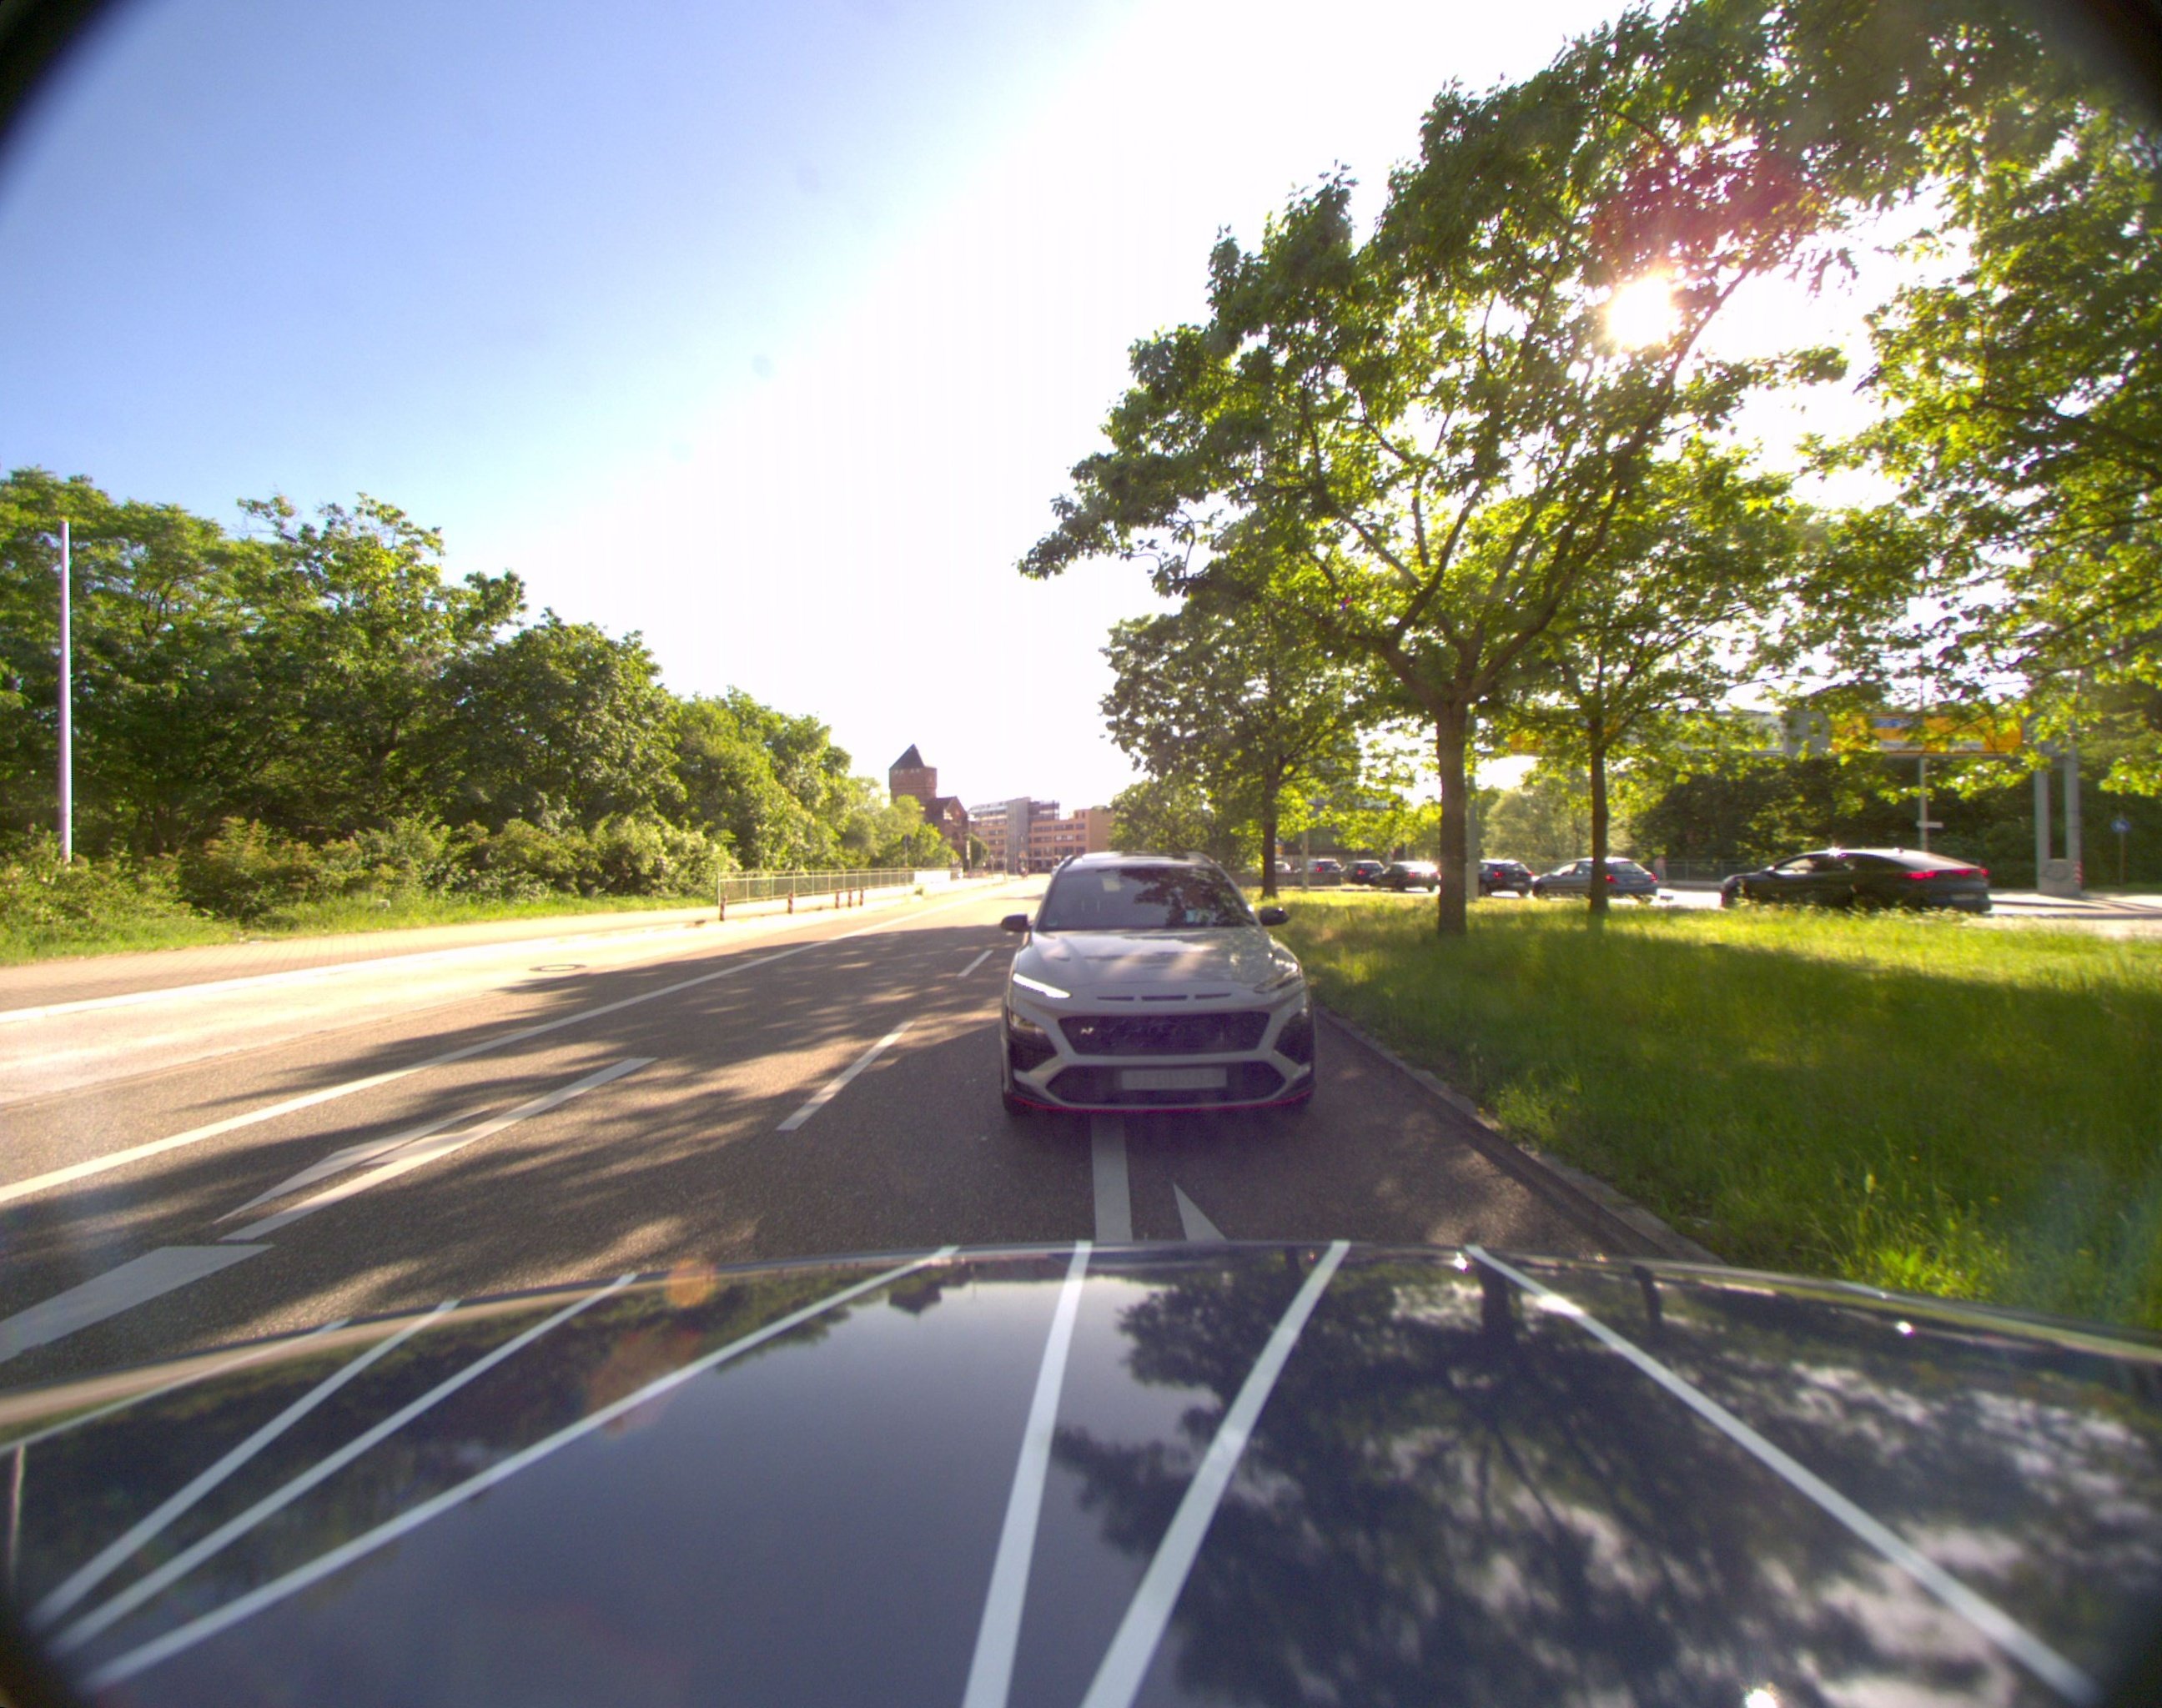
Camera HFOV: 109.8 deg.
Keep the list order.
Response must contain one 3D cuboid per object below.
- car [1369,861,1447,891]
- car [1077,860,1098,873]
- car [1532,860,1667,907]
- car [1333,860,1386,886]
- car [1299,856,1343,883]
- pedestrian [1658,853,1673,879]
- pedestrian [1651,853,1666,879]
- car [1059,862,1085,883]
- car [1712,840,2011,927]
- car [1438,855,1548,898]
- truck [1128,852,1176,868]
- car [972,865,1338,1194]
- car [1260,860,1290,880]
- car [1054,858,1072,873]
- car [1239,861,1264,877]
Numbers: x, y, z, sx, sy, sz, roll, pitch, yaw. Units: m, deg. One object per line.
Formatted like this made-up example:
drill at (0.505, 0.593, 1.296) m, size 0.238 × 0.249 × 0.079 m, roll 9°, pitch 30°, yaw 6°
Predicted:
car at (15.475, 1.001, 36.215) m, size 1.623 × 1.305 × 4.066 m, roll -1°, pitch 0°, yaw -6°
car at (1.025, 1.992, 121.624) m, size 1.995 × 2.002 × 4.006 m, roll -1°, pitch 0°, yaw 21°
car at (16.389, 0.884, 24.236) m, size 1.561 × 1.355 × 3.608 m, roll -1°, pitch -1°, yaw -6°
car at (15.151, 1.036, 41.471) m, size 1.481 × 1.331 × 3.202 m, roll -1°, pitch -1°, yaw -6°
car at (14.973, 0.995, 47.509) m, size 1.450 × 1.549 × 3.202 m, roll -1°, pitch -2°, yaw -6°
pedestrian at (33.993, 0.680, 44.198) m, size 0.421 × 1.490 × 0.545 m, roll -1°, pitch 0°, yaw -7°
pedestrian at (33.563, 0.685, 44.145) m, size 0.421 × 1.490 × 0.545 m, roll -1°, pitch 0°, yaw -7°
car at (-0.650, 1.384, 58.139) m, size 1.892 × 1.420 × 4.387 m, roll -1°, pitch 0°, yaw 1°
car at (16.842, 0.565, 16.802) m, size 1.832 × 1.638 × 4.458 m, roll -1°, pitch 0°, yaw -5°
car at (16.187, 0.849, 30.142) m, size 1.875 × 1.541 × 4.221 m, roll -1°, pitch 0°, yaw -4°
truck at (14.574, 1.209, 155.684) m, size 9.144 × 3.231 × 3.534 m, roll -1°, pitch 0°, yaw 19°
car at (0.386, 0.883, 5.681) m, size 1.752 × 1.523 × 3.988 m, roll -1°, pitch 0°, yaw 1°
car at (14.321, 1.211, 56.123) m, size 1.228 × 1.331 × 2.882 m, roll -1°, pitch -3°, yaw -6°
car at (-1.859, 1.206, 78.143) m, size 1.677 × 1.463 × 4.151 m, roll -1°, pitch 0°, yaw 1°
car at (13.945, 1.280, 62.320) m, size 1.199 × 1.252 × 2.768 m, roll -1°, pitch -2°, yaw -6°
